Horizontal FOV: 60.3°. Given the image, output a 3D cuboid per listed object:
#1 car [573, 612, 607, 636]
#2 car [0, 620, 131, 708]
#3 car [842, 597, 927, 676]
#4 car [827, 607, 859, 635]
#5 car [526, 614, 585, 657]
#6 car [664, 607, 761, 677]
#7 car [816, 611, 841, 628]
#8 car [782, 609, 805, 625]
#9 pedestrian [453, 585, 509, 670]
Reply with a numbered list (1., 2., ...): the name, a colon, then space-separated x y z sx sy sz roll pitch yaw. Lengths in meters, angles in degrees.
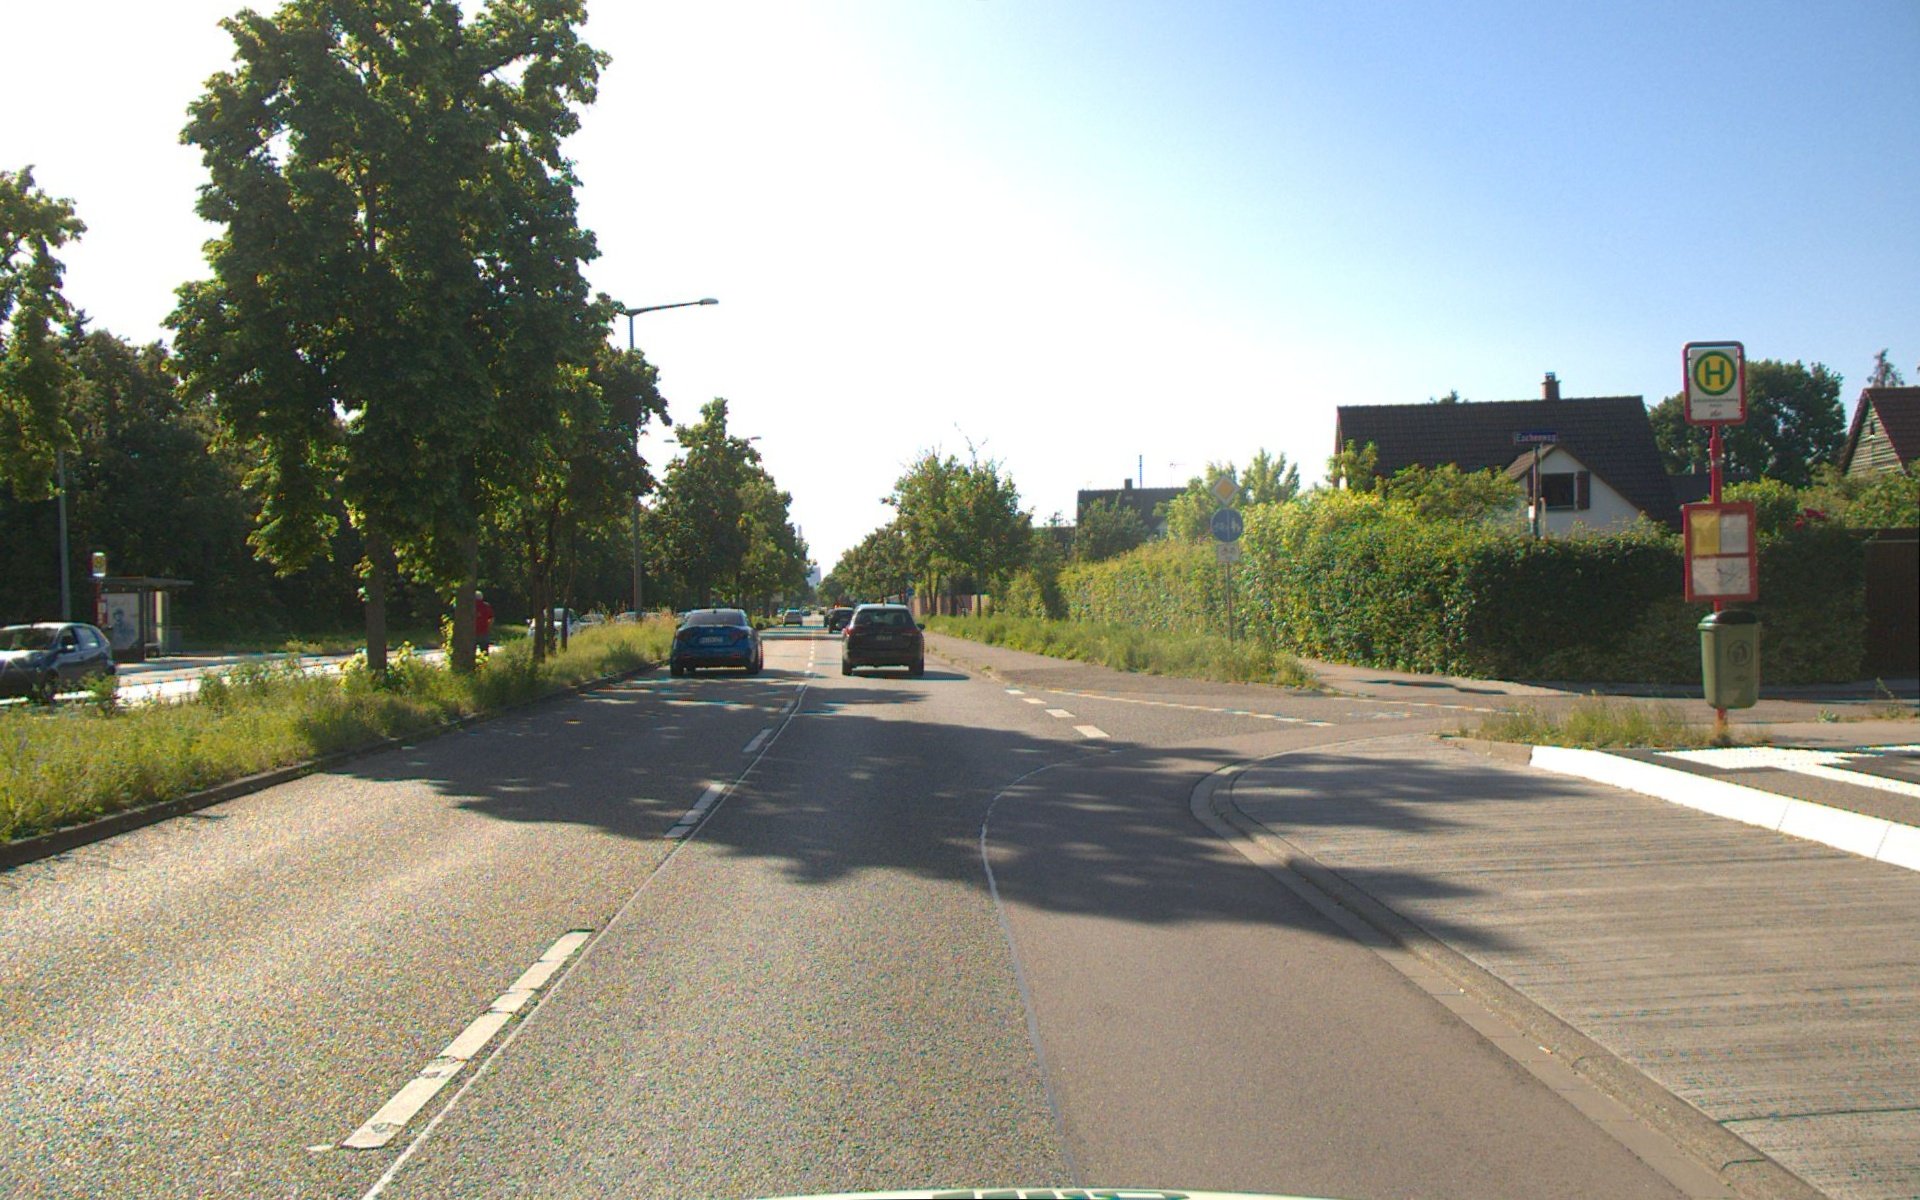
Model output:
1. car: -24.435 1.558 109.392 1.771 1.526 4.588 -1 0 -7
2. car: -17.143 1.158 30.616 1.509 1.456 4.254 -2 0 -2
3. car: -1.681 0.774 35.811 1.726 1.587 3.996 1 -1 -4
4. car: -7.137 1.261 100.582 1.711 1.625 4.168 -1 0 -7
5. car: -16.575 1.425 67.924 1.697 1.660 4.193 -2 0 -5
6. car: -5.429 0.884 36.719 1.956 1.429 3.994 -1 0 -6
7. car: -11.220 1.665 141.147 1.863 1.379 3.992 -1 0 -9
8. car: -15.674 1.580 155.212 1.942 1.465 3.992 -1 0 -9
9. pedestrian: -9.837 0.553 33.969 0.618 1.726 0.942 -1 0 25
